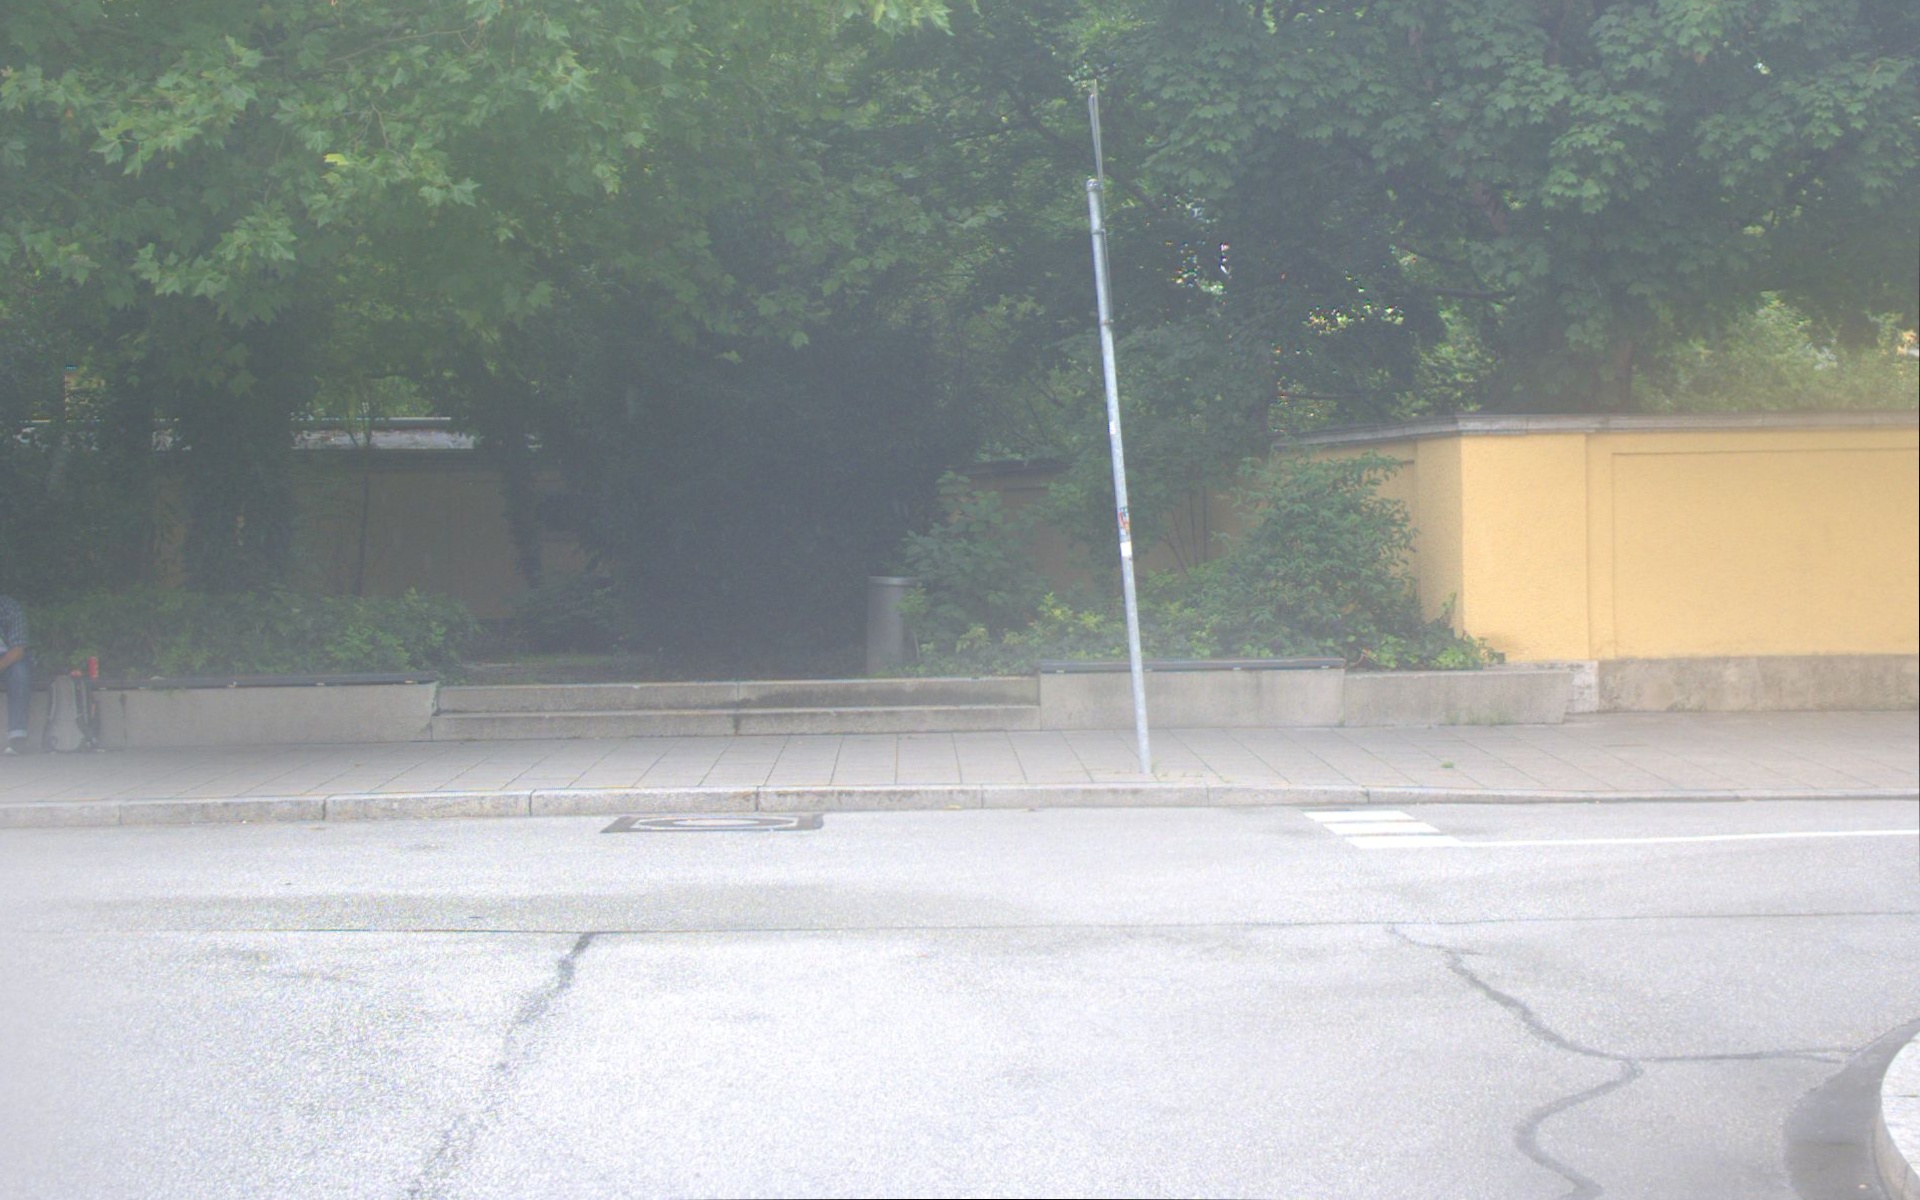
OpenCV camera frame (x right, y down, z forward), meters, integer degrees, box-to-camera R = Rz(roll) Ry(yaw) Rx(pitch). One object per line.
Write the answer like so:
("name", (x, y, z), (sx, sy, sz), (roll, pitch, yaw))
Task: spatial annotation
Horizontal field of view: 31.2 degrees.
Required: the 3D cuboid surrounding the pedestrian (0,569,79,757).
("pedestrian", (-6.269, 0.402, 22.300), (0.812, 1.185, 0.919), (-1, 1, 3))
